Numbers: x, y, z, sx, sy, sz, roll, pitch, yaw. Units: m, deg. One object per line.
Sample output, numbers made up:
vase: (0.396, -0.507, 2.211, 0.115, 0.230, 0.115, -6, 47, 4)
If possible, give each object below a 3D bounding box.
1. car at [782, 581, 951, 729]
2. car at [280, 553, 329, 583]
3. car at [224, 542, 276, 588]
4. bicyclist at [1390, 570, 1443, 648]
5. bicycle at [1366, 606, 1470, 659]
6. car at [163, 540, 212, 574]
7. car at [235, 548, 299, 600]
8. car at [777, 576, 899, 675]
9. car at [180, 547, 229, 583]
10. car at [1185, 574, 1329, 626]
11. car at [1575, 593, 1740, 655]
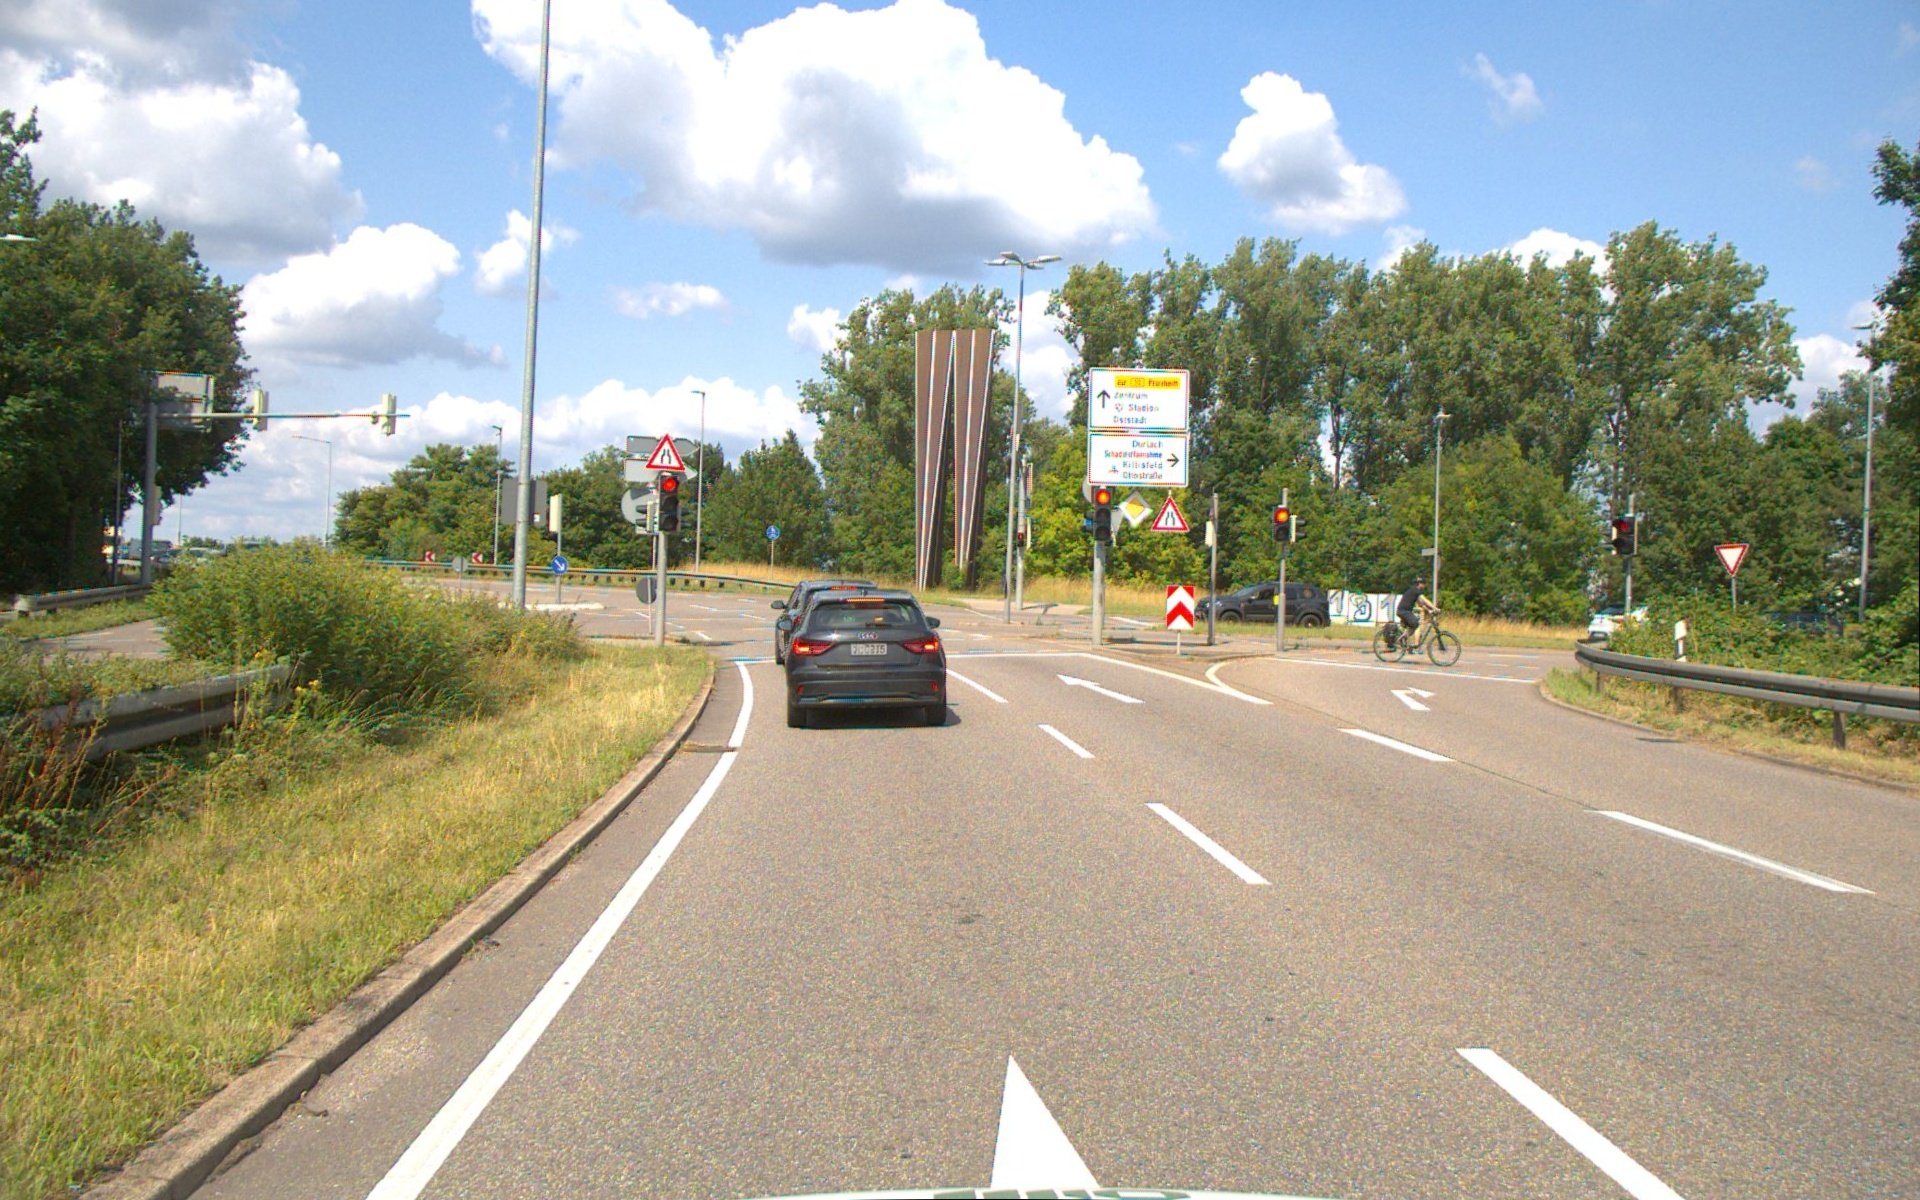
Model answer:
car: (-1.102, 0.529, 18.698, 1.692, 1.428, 3.996, -1, 1, -5)
car: (-32.405, -1.589, 81.741, 1.923, 1.443, 3.937, 1, 1, -26)
car: (-29.660, -1.467, 69.045, 1.820, 1.833, 4.292, 1, 1, -25)
bicyclist: (9.485, 0.179, 34.387, 0.820, 1.587, 0.670, 1, 0, -14)
bicycle: (9.527, 0.672, 34.397, 2.018, 1.041, 0.670, 1, 0, -14)
car: (-41.462, -2.324, 88.727, 1.826, 1.735, 4.278, 1, 1, -33)
car: (-23.347, -0.845, 55.661, 1.815, 1.646, 3.968, 0, 0, -25)
car: (-2.048, 0.361, 26.940, 1.694, 1.448, 3.837, -1, 1, -8)
car: (-37.683, -1.747, 82.452, 1.824, 1.735, 4.283, 1, 1, -30)
car: (9.430, -0.009, 52.596, 4.185, 1.572, 1.735, 1, 1, -6)
car: (19.747, 0.682, 46.861, 3.960, 1.502, 1.733, 3, 0, -10)
